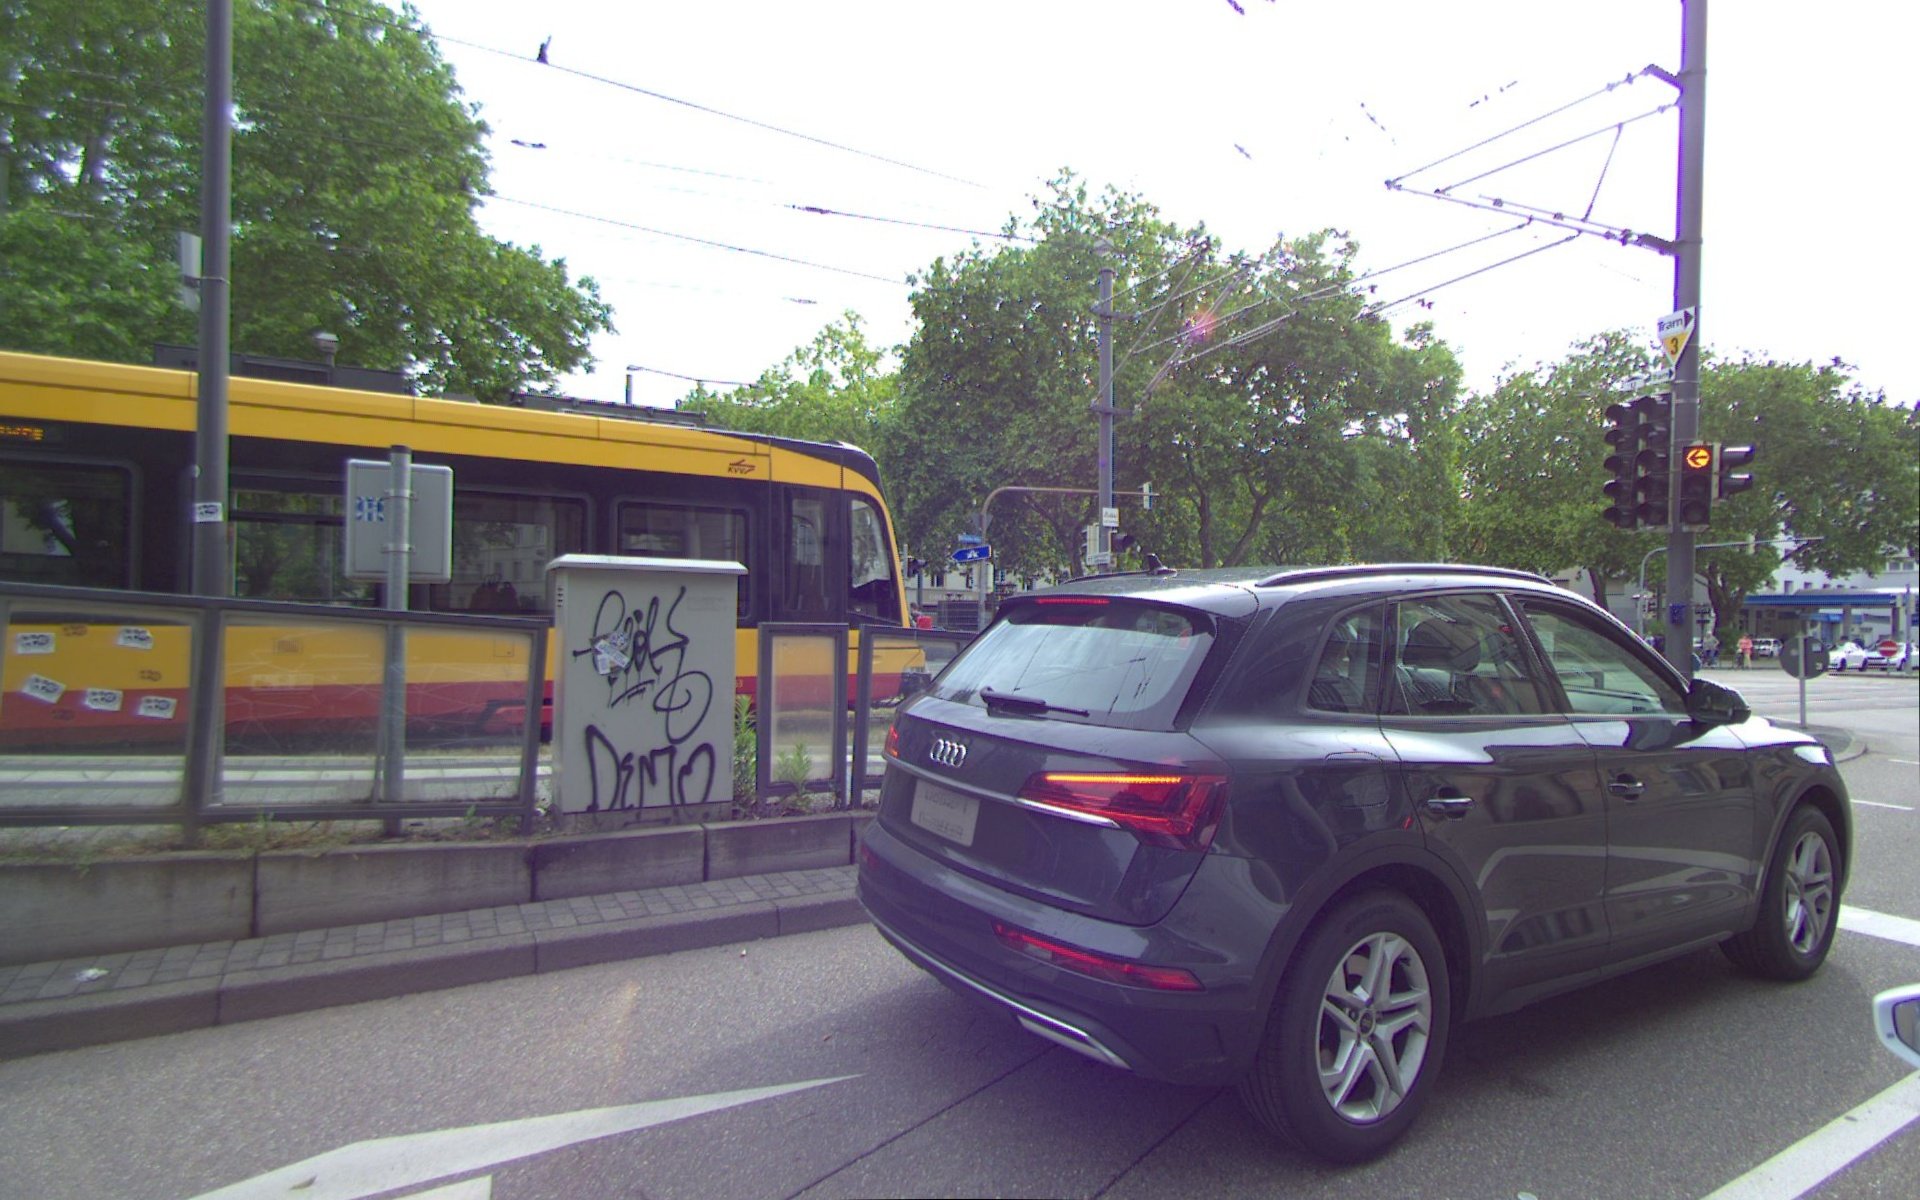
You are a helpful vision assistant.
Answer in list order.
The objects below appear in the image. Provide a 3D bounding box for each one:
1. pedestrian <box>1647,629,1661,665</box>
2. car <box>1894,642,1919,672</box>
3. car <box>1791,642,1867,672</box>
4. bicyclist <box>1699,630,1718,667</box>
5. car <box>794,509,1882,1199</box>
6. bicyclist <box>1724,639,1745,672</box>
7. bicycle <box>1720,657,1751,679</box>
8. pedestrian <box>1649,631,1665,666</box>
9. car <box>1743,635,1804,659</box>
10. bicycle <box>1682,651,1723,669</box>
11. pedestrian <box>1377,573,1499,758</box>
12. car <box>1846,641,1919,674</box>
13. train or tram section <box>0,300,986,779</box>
[{"bbox_3d":[36.161,2.442,52.322,0.440,1.808,0.375,2,0,3],"label":"pedestrian"},{"bbox_3d":[53.777,3.178,55.714,3.792,1.578,1.885,2,0,-30],"label":"car"},{"bbox_3d":[42.365,2.757,48.934,3.954,1.343,1.626,2,0,-31],"label":"car"},{"bbox_3d":[36.928,2.384,49.556,0.461,1.808,0.534,2,0,-10],"label":"bicyclist"},{"bbox_3d":[1.708,0.679,4.075,4.308,1.622,1.870,2,-1,-31],"label":"car"},{"bbox_3d":[37.542,2.687,48.696,0.611,1.588,0.585,2,0,-30],"label":"bicyclist"},{"bbox_3d":[37.642,3.301,48.739,1.914,1.031,0.519,2,0,-30],"label":"bicycle"},{"bbox_3d":[36.173,2.505,52.113,0.541,1.808,0.375,2,0,1],"label":"pedestrian"},{"bbox_3d":[55.685,3.216,68.780,3.954,1.550,1.984,2,0,-30],"label":"car"},{"bbox_3d":[36.814,2.965,49.830,0.644,0.783,1.682,2,0,-9],"label":"bicycle"},{"bbox_3d":[4.588,0.601,9.663,0.722,1.683,0.750,2,0,-30],"label":"pedestrian"},{"bbox_3d":[47.900,2.971,52.070,3.792,1.578,1.885,2,0,-30],"label":"car"},{"bbox_3d":[-7.223,-0.443,9.446,15.665,3.636,3.045,2,0,-31],"label":"train or tram section"}]
